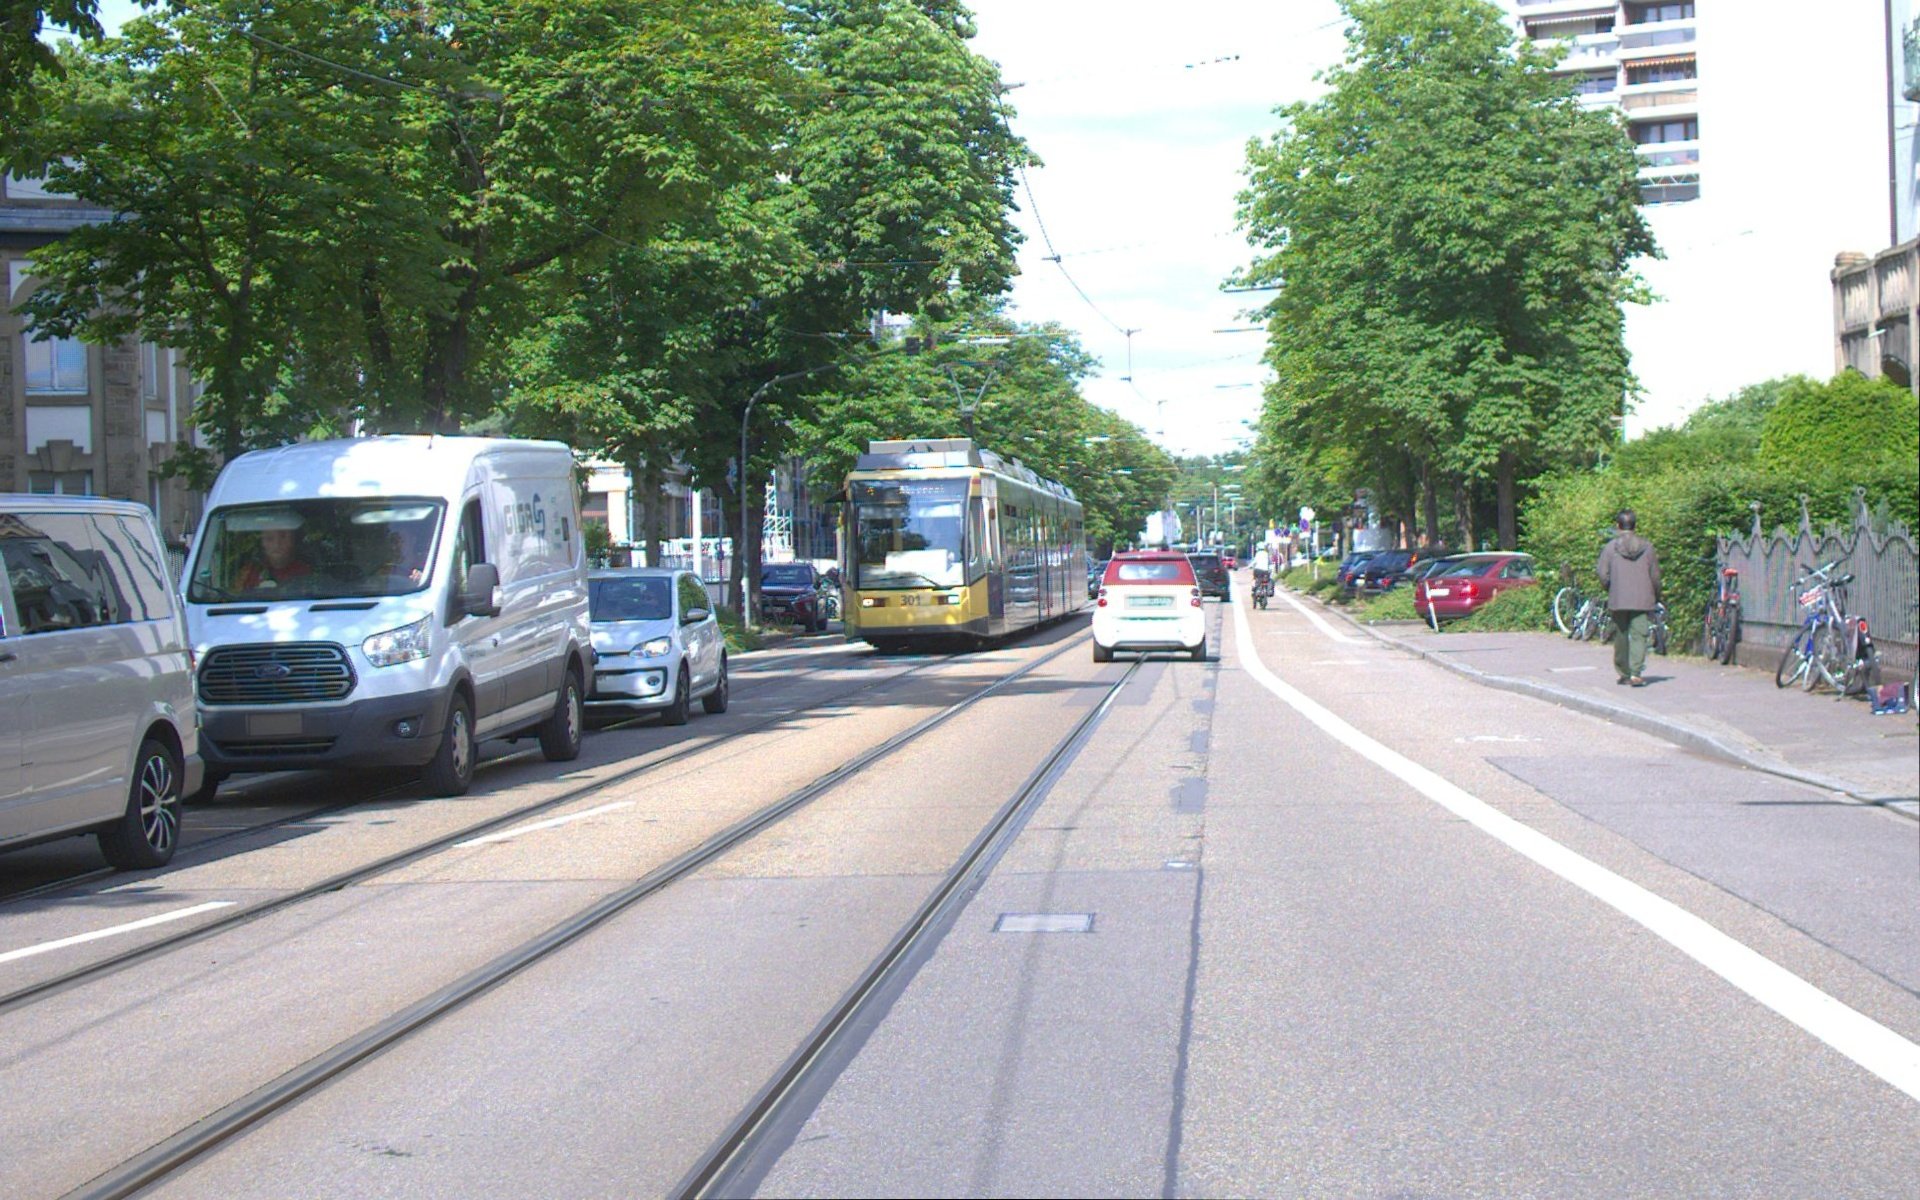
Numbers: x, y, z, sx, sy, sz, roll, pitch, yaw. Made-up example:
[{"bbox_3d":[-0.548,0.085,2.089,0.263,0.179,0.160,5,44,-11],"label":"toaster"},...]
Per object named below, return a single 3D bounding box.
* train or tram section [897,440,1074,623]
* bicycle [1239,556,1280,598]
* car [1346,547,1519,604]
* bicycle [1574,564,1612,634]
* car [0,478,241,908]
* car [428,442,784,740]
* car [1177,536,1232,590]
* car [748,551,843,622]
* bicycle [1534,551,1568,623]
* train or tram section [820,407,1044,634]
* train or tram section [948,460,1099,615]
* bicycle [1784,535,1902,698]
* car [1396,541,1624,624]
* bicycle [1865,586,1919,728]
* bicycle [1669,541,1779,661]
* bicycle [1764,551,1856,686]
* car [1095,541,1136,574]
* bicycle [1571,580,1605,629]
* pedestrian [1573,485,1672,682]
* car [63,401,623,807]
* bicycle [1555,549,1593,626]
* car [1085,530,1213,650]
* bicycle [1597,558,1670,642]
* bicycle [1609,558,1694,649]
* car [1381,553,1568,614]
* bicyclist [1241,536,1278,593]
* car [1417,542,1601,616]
[{"bbox_3d":[0.678,-1.351,71.944,2.653,3.377,11.471,-3,0,5],"label":"train or tram section"},{"bbox_3d":[8.143,-0.628,93.427,0.875,1.122,2.135,0,0,11],"label":"bicycle"},{"bbox_3d":[12.482,-0.638,90.702,4.523,1.437,2.031,0,0,-41],"label":"car"},{"bbox_3d":[8.884,-0.022,48.270,0.274,0.904,1.668,-5,2,5],"label":"bicycle"},{"bbox_3d":[-5.291,0.450,16.353,1.987,1.956,5.178,-2,1,8],"label":"car"},{"bbox_3d":[-3.205,-0.121,32.684,2.316,2.499,6.363,-2,1,3],"label":"car"},{"bbox_3d":[7.713,-1.171,108.408,1.665,1.619,3.620,-2,1,4],"label":"car"},{"bbox_3d":[-3.929,-0.338,82.765,1.750,1.660,4.720,0,0,4],"label":"car"},{"bbox_3d":[9.437,-0.214,54.920,0.279,1.105,2.010,-5,0,5],"label":"bicycle"},{"bbox_3d":[-0.294,-1.289,60.203,2.653,3.425,12.313,-3,0,5],"label":"train or tram section"},{"bbox_3d":[1.709,-1.457,84.619,2.653,3.344,14.106,-3,0,5],"label":"train or tram section"},{"bbox_3d":[7.162,0.113,27.950,0.451,1.256,1.844,-4,1,2],"label":"bicycle"},{"bbox_3d":[10.364,-0.330,64.632,4.148,1.418,1.866,-2,1,-38],"label":"car"},{"bbox_3d":[7.047,0.403,24.089,0.599,0.957,3.066,-5,1,2],"label":"bicycle"},{"bbox_3d":[8.146,0.002,36.753,0.740,1.227,2.516,-1,0,4],"label":"bicycle"},{"bbox_3d":[7.479,0.146,30.295,0.451,1.119,1.844,-4,1,5],"label":"bicycle"},{"bbox_3d":[7.435,-2.035,164.502,1.773,1.411,3.852,-4,0,4],"label":"car"},{"bbox_3d":[9.036,0.064,49.507,0.279,0.675,1.559,-5,0,5],"label":"bicycle"},{"bbox_3d":[6.352,-0.158,32.966,0.787,1.855,0.580,-1,0,-2],"label":"pedestrian"},{"bbox_3d":[-4.205,-0.055,24.817,2.316,2.499,6.363,-2,1,5],"label":"car"},{"bbox_3d":[9.173,-0.192,51.411,0.279,1.105,2.010,-5,0,5],"label":"bicycle"},{"bbox_3d":[2.712,-0.150,48.746,1.665,1.619,3.620,0,0,6],"label":"car"},{"bbox_3d":[8.336,-0.004,42.626,0.612,0.985,1.872,-3,0,4],"label":"bicycle"},{"bbox_3d":[8.077,0.038,40.241,0.610,0.992,2.362,-4,0,4],"label":"bicycle"},{"bbox_3d":[11.661,-0.390,77.847,4.163,1.344,1.905,0,1,-40],"label":"car"},{"bbox_3d":[8.116,-0.957,93.248,0.890,1.523,1.084,0,0,11],"label":"bicyclist"},{"bbox_3d":[11.378,-0.446,71.131,3.989,1.456,1.535,-1,1,-41],"label":"car"}]
